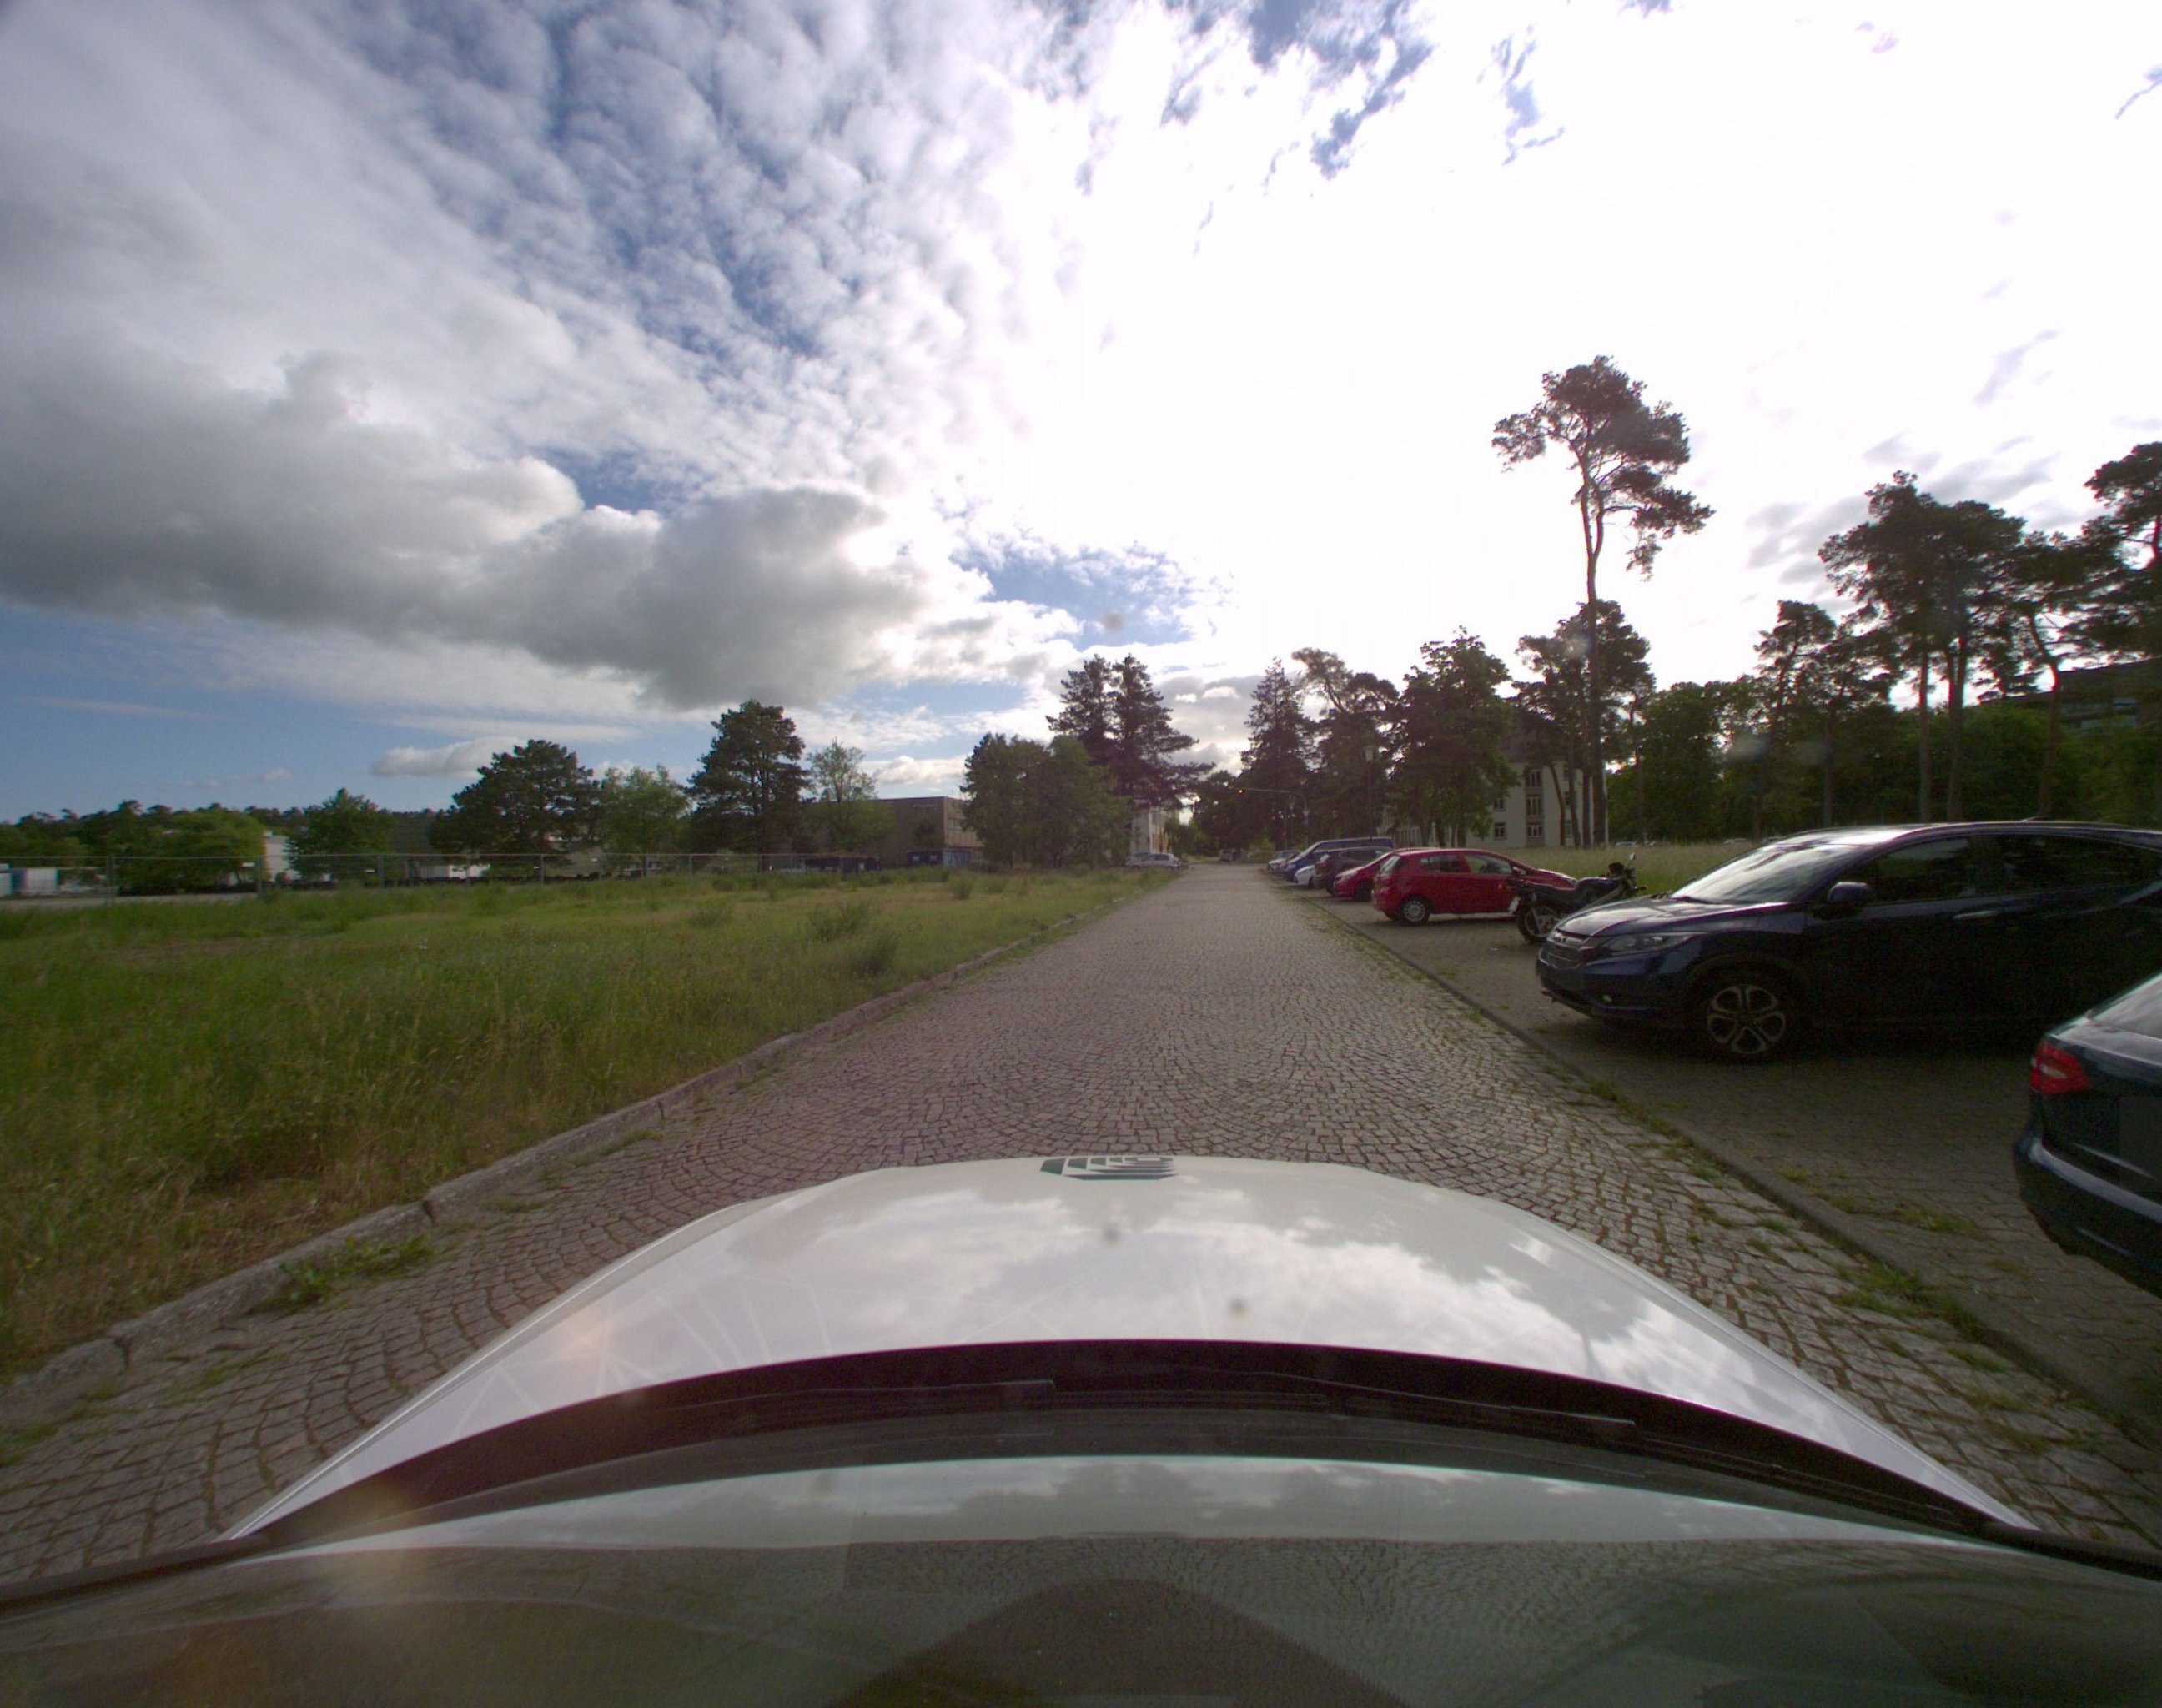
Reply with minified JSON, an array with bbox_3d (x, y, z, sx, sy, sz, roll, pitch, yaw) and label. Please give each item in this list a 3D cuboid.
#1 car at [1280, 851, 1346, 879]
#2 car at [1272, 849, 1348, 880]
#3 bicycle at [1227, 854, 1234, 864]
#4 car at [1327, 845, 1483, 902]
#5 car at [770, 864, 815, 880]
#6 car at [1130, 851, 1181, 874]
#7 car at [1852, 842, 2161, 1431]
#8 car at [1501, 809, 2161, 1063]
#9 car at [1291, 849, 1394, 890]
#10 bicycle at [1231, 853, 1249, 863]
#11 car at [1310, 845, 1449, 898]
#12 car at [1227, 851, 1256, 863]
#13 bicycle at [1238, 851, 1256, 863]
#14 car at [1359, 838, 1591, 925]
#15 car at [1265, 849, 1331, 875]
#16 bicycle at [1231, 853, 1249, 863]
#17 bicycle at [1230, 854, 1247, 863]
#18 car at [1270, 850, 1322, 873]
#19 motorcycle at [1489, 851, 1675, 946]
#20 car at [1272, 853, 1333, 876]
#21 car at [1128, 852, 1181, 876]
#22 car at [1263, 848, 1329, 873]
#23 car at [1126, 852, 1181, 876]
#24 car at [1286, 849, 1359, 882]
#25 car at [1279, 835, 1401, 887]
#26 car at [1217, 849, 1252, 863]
[{"bbox_3d":[13.200,0.614,46.484,3.282,1.504,1.664,-2,0,-1],"label":"car"},{"bbox_3d":[12.218,0.540,43.630,3.587,1.506,1.663,-2,0,-1],"label":"car"},{"bbox_3d":[19.127,0.649,104.184,0.804,1.268,1.979,-2,0,11],"label":"bicycle"},{"bbox_3d":[9.381,0.558,23.862,3.962,1.518,1.743,-2,0,10],"label":"car"},{"bbox_3d":[-29.566,1.849,83.456,3.963,1.553,1.813,-2,0,9],"label":"car"},{"bbox_3d":[5.977,0.691,65.332,3.970,1.750,1.929,-1,0,3],"label":"car"},{"bbox_3d":[4.926,0.627,1.669,4.473,1.464,1.902,-3,0,13],"label":"car"},{"bbox_3d":[5.862,0.563,6.293,4.237,1.573,1.900,-3,0,9],"label":"car"},{"bbox_3d":[10.496,0.600,32.898,3.702,1.424,1.658,-3,0,7],"label":"car"},{"bbox_3d":[21.030,0.579,107.682,2.151,1.268,0.813,-1,0,3],"label":"bicycle"},{"bbox_3d":[9.594,0.570,26.443,3.927,1.580,1.766,-1,0,8],"label":"car"},{"bbox_3d":[24.023,0.462,121.970,3.969,1.644,2.002,-1,0,4],"label":"car"},{"bbox_3d":[22.167,0.410,108.808,2.151,1.616,0.813,-1,0,3],"label":"bicycle"},{"bbox_3d":[7.780,0.533,16.411,3.817,1.505,1.742,-3,0,9],"label":"car"},{"bbox_3d":[14.225,0.519,53.526,3.968,1.543,1.666,-2,0,4],"label":"car"},{"bbox_3d":[21.131,0.585,108.263,2.151,1.268,0.813,-1,0,3],"label":"bicycle"},{"bbox_3d":[21.117,0.600,109.500,2.151,1.268,0.813,-1,0,3],"label":"bicycle"},{"bbox_3d":[15.510,0.539,58.794,3.373,1.543,1.393,-2,0,4],"label":"car"},{"bbox_3d":[7.281,0.637,11.916,2.253,1.275,0.607,-2,-1,5],"label":"motorcycle"},{"bbox_3d":[13.314,0.640,49.132,3.277,1.267,1.666,-2,0,4],"label":"car"},{"bbox_3d":[5.596,0.726,62.230,3.969,1.706,2.002,-2,0,4],"label":"car"},{"bbox_3d":[14.823,0.454,56.297,4.104,1.543,1.666,-2,0,4],"label":"car"},{"bbox_3d":[5.304,0.723,59.721,3.969,1.552,2.002,-2,0,4],"label":"car"},{"bbox_3d":[12.000,0.550,40.594,3.274,1.504,1.668,-2,0,8],"label":"car"},{"bbox_3d":[11.149,0.309,35.341,4.755,2.040,1.742,-2,0,8],"label":"car"},{"bbox_3d":[23.662,0.372,125.367,5.035,2.013,2.000,-1,0,-1],"label":"car"}]
